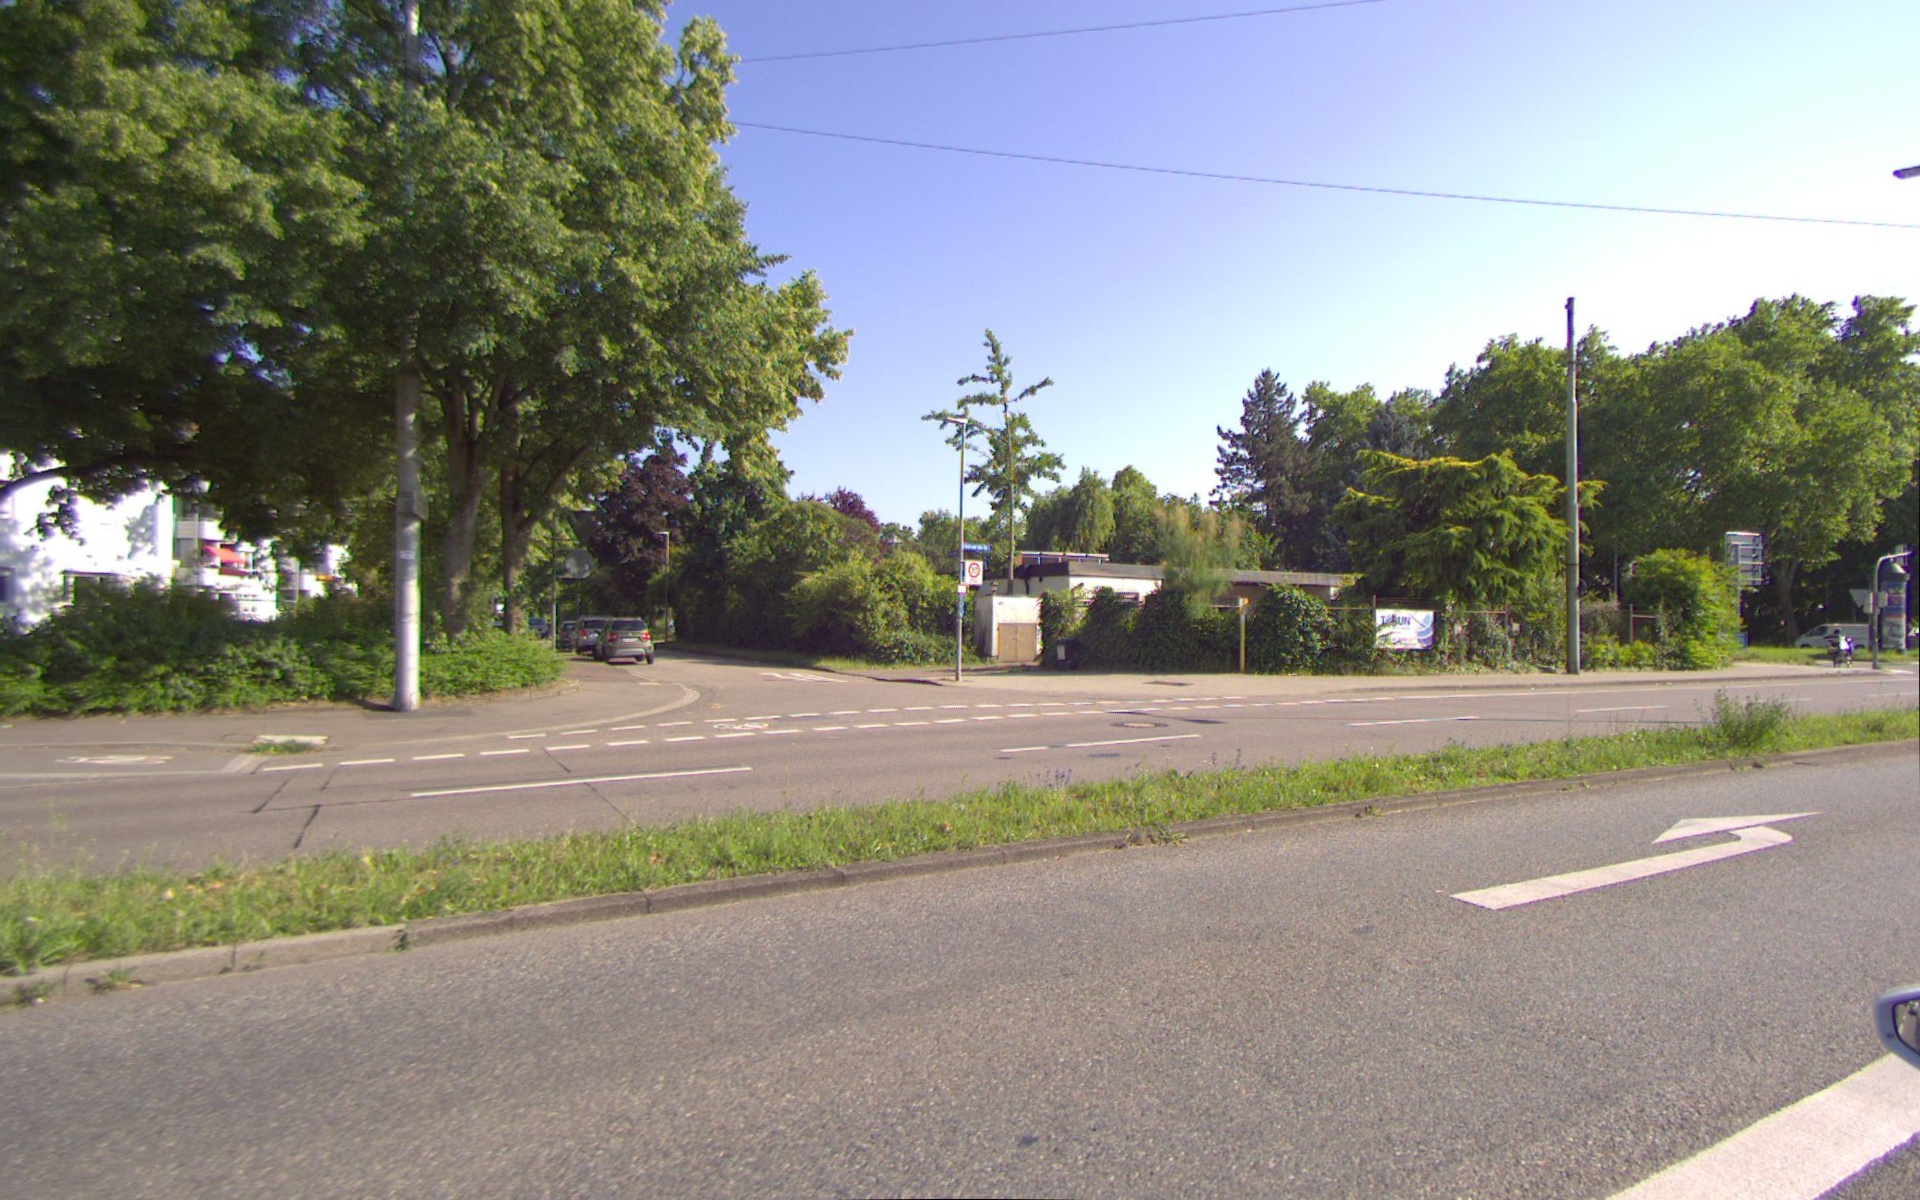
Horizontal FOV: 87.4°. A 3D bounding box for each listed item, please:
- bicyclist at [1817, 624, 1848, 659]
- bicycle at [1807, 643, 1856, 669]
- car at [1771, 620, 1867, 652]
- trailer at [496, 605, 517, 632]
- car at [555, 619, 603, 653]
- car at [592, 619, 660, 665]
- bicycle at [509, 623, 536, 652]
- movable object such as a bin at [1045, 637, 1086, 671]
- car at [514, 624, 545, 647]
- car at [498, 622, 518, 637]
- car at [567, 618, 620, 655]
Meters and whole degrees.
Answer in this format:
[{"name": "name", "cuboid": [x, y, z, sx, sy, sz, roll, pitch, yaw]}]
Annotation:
[{"name": "bicyclist", "cuboid": [37.275, 1.773, 42.909, 1.037, 1.471, 0.660, 1, -1, -26]}, {"name": "bicycle", "cuboid": [37.188, 2.363, 42.856, 2.546, 1.063, 0.659, 1, -1, -26]}, {"name": "car", "cuboid": [54.932, 2.264, 64.333, 1.797, 1.989, 4.380, 1, -1, -22]}, {"name": "trailer", "cuboid": [-58.667, 2.385, 129.803, 1.974, 3.343, 8.840, 1, -1, -27]}, {"name": "car", "cuboid": [-18.118, 1.672, 47.712, 1.763, 1.530, 3.974, 1, -1, -26]}, {"name": "car", "cuboid": [-11.737, 1.439, 35.158, 1.737, 1.506, 3.539, 1, -1, -28]}, {"name": "bicycle", "cuboid": [-15.585, 1.335, 35.756, 0.774, 1.002, 1.734, 1, -1, -26]}, {"name": "movable object such as a bin", "cuboid": [3.022, 1.530, 28.746, 0.843, 0.943, 0.813, 1, -1, -30]}, {"name": "car", "cuboid": [-30.151, 2.458, 70.294, 1.764, 1.530, 3.973, 1, -2, -27]}, {"name": "car", "cuboid": [-48.125, 3.124, 106.918, 1.764, 1.530, 3.973, 1, -2, -27]}, {"name": "car", "cuboid": [-15.741, 1.529, 43.030, 1.763, 1.530, 3.974, 1, -1, -26]}]
